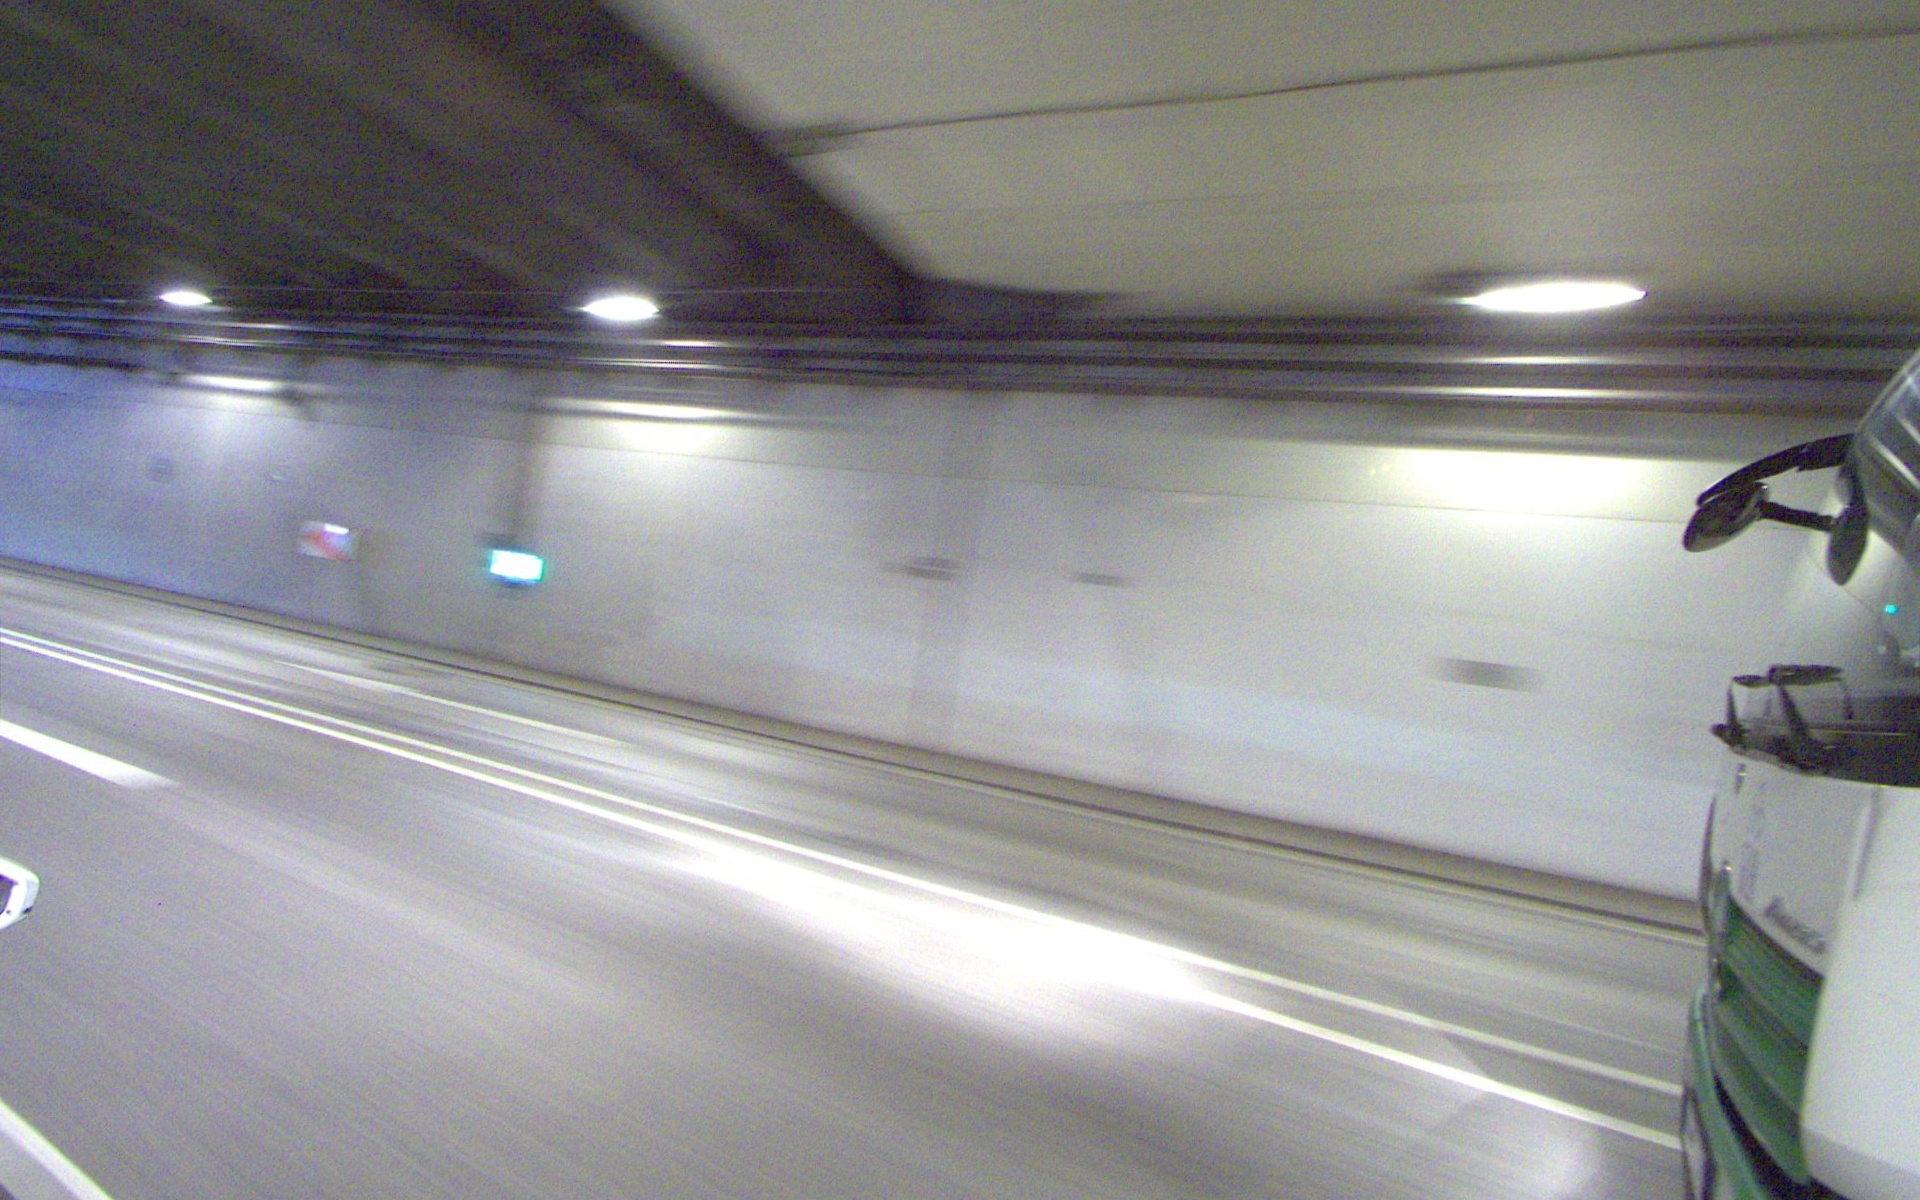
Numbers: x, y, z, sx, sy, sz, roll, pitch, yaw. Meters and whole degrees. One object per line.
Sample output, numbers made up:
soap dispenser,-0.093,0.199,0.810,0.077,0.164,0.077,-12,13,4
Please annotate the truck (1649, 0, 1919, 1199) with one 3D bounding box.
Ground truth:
truck,4.782,0.453,0.352,7.128,3.218,2.557,6,-2,33
